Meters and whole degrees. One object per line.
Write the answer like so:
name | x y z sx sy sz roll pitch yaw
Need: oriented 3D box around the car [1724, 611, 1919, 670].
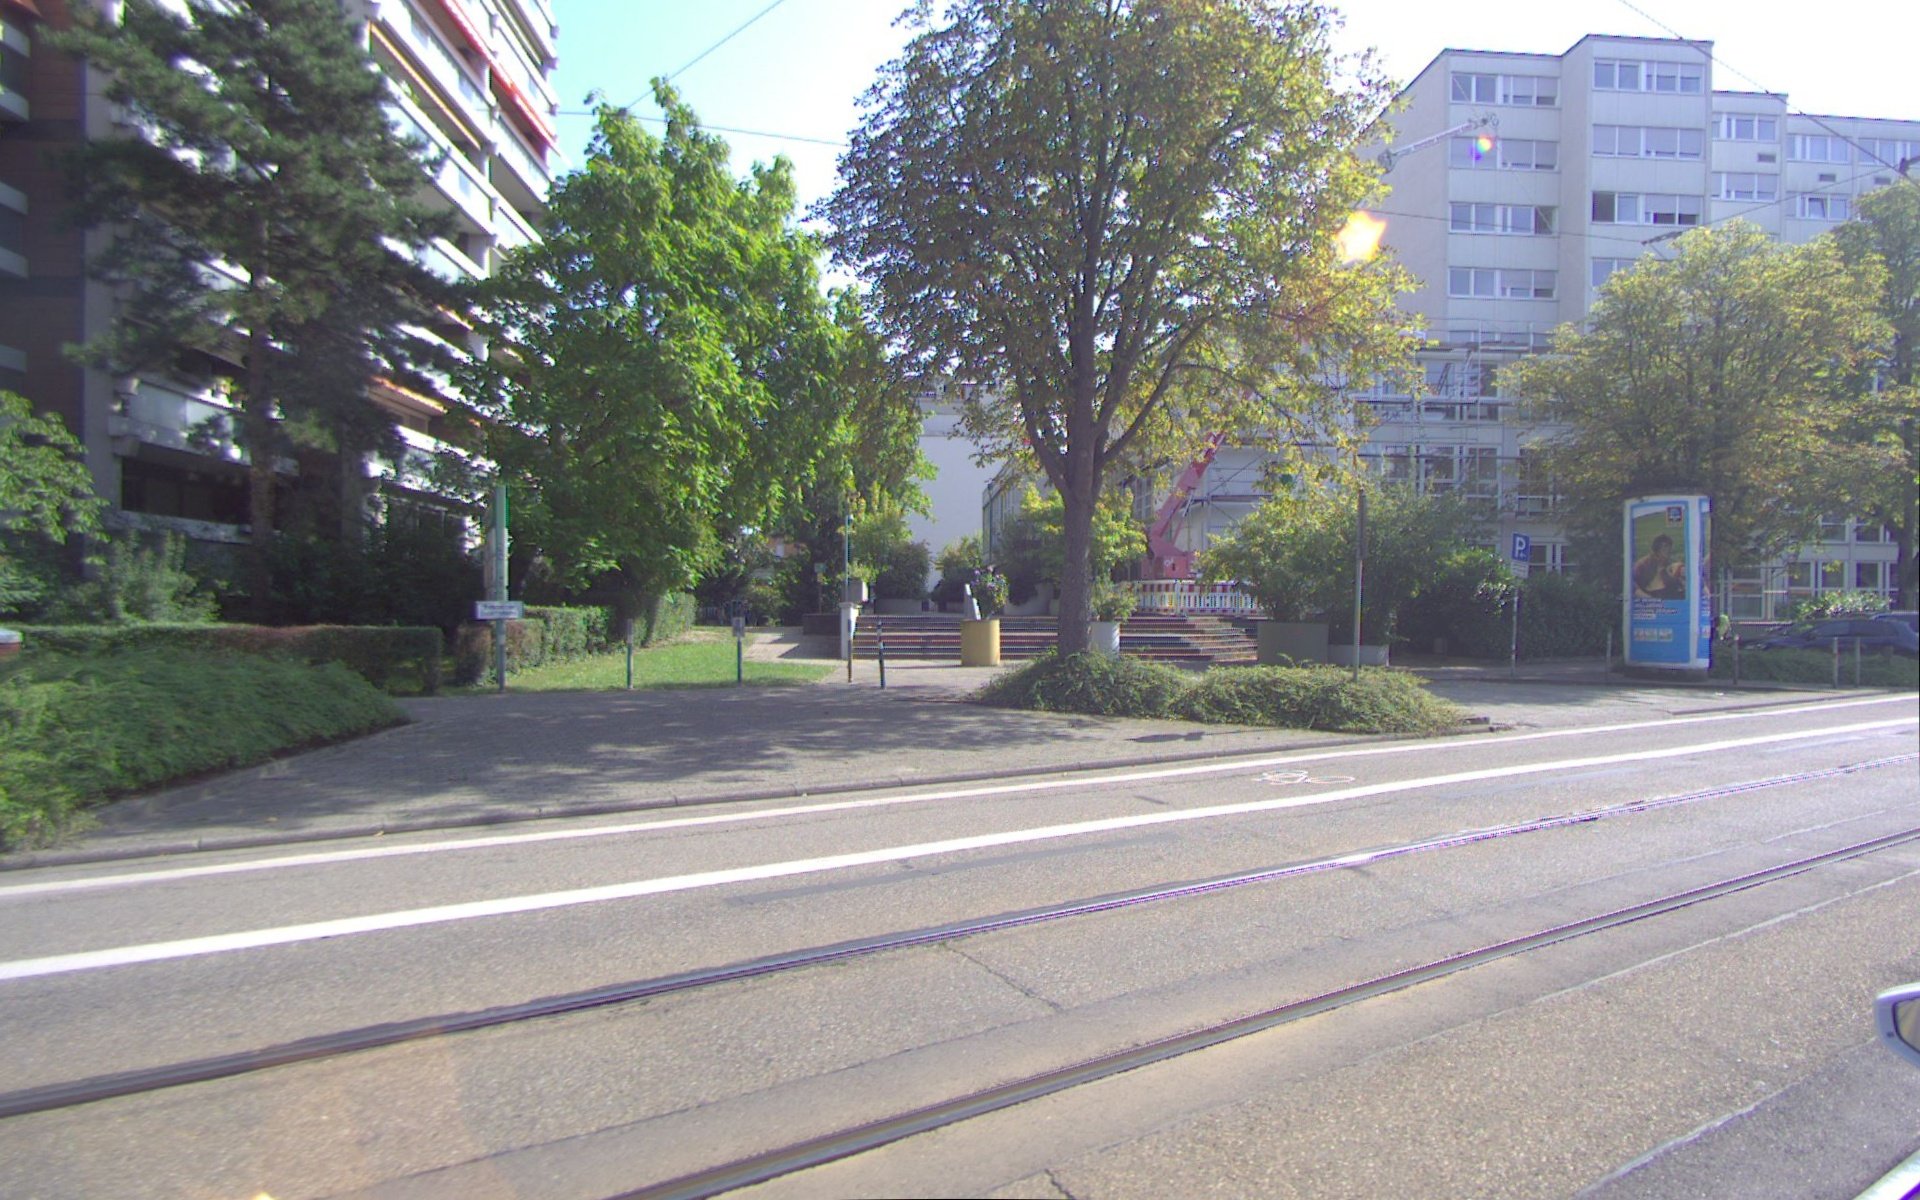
car | 22.868 1.045 26.685 3.720 1.461 1.694 0 0 17

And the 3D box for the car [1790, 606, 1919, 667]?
car | 26.030 1.016 28.271 3.719 1.643 1.745 0 0 15

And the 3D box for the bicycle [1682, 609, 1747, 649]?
bicycle | 27.356 1.014 36.465 0.574 1.399 2.433 0 0 1
